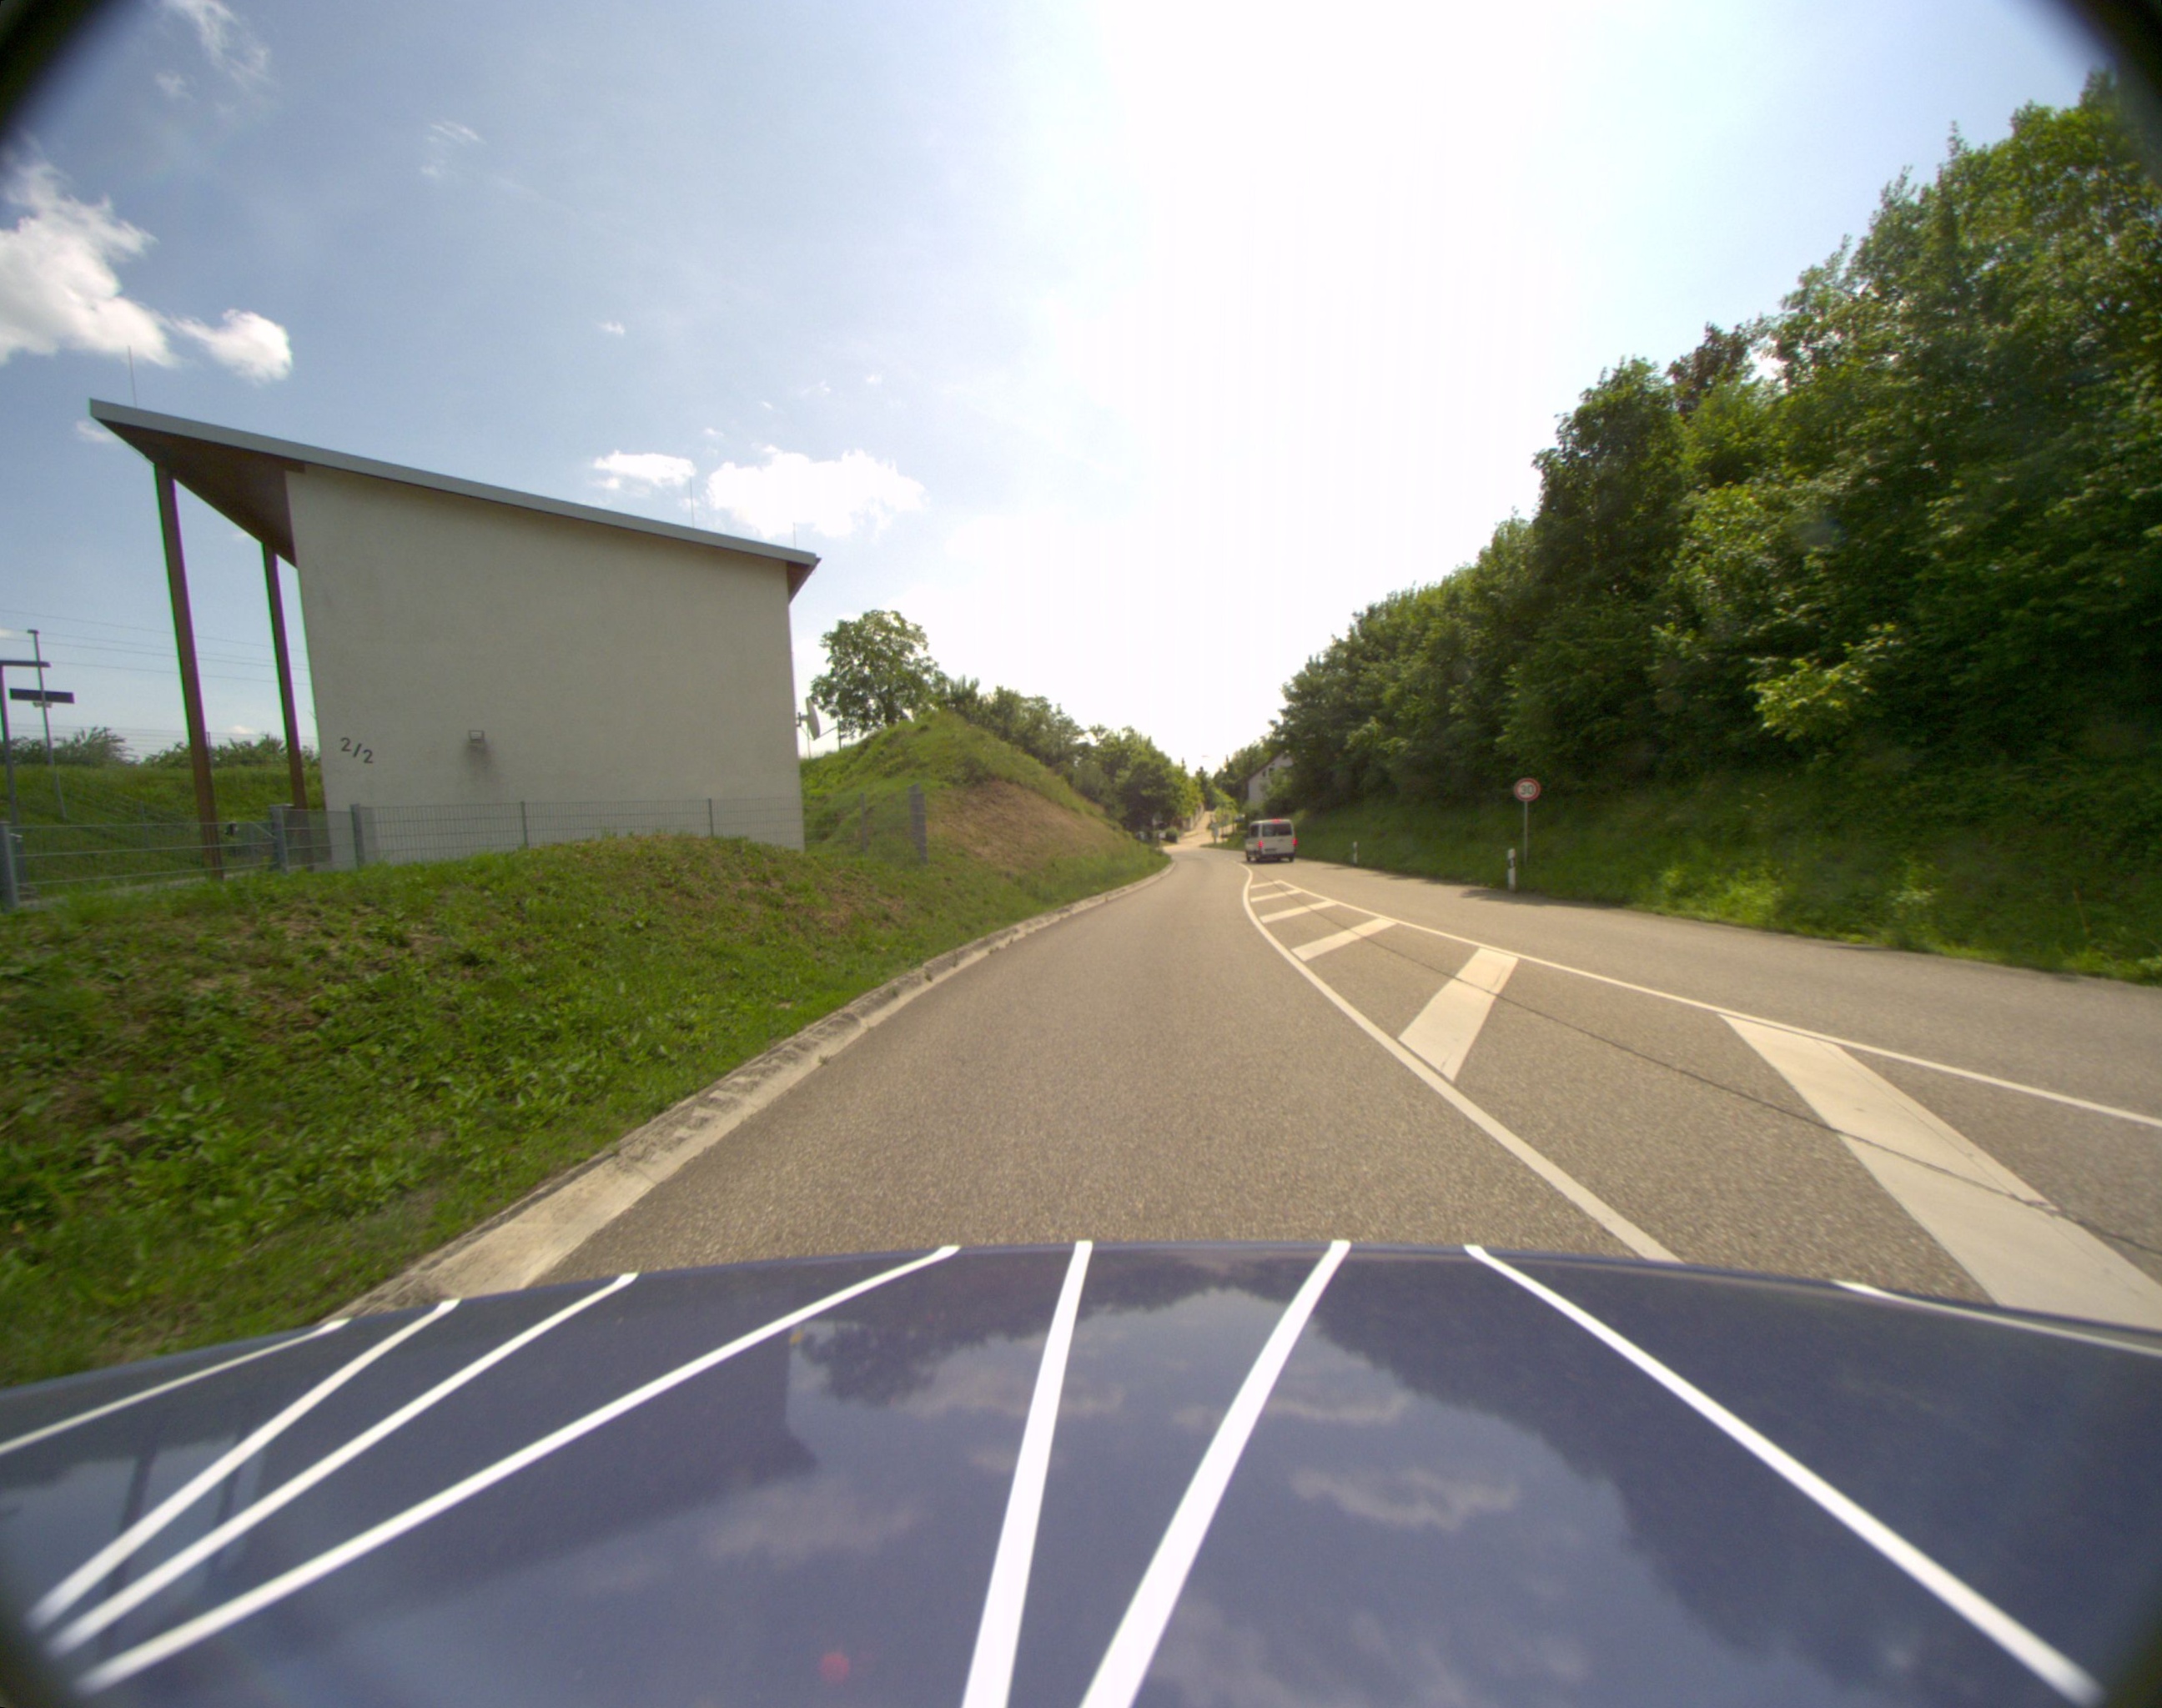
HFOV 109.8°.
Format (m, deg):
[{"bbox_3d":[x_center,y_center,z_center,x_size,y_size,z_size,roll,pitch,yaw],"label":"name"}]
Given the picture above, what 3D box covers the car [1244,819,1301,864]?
[{"bbox_3d":[10.666,-0.646,42.760,2.090,2.277,5.949,-1,0,5],"label":"car"}]
